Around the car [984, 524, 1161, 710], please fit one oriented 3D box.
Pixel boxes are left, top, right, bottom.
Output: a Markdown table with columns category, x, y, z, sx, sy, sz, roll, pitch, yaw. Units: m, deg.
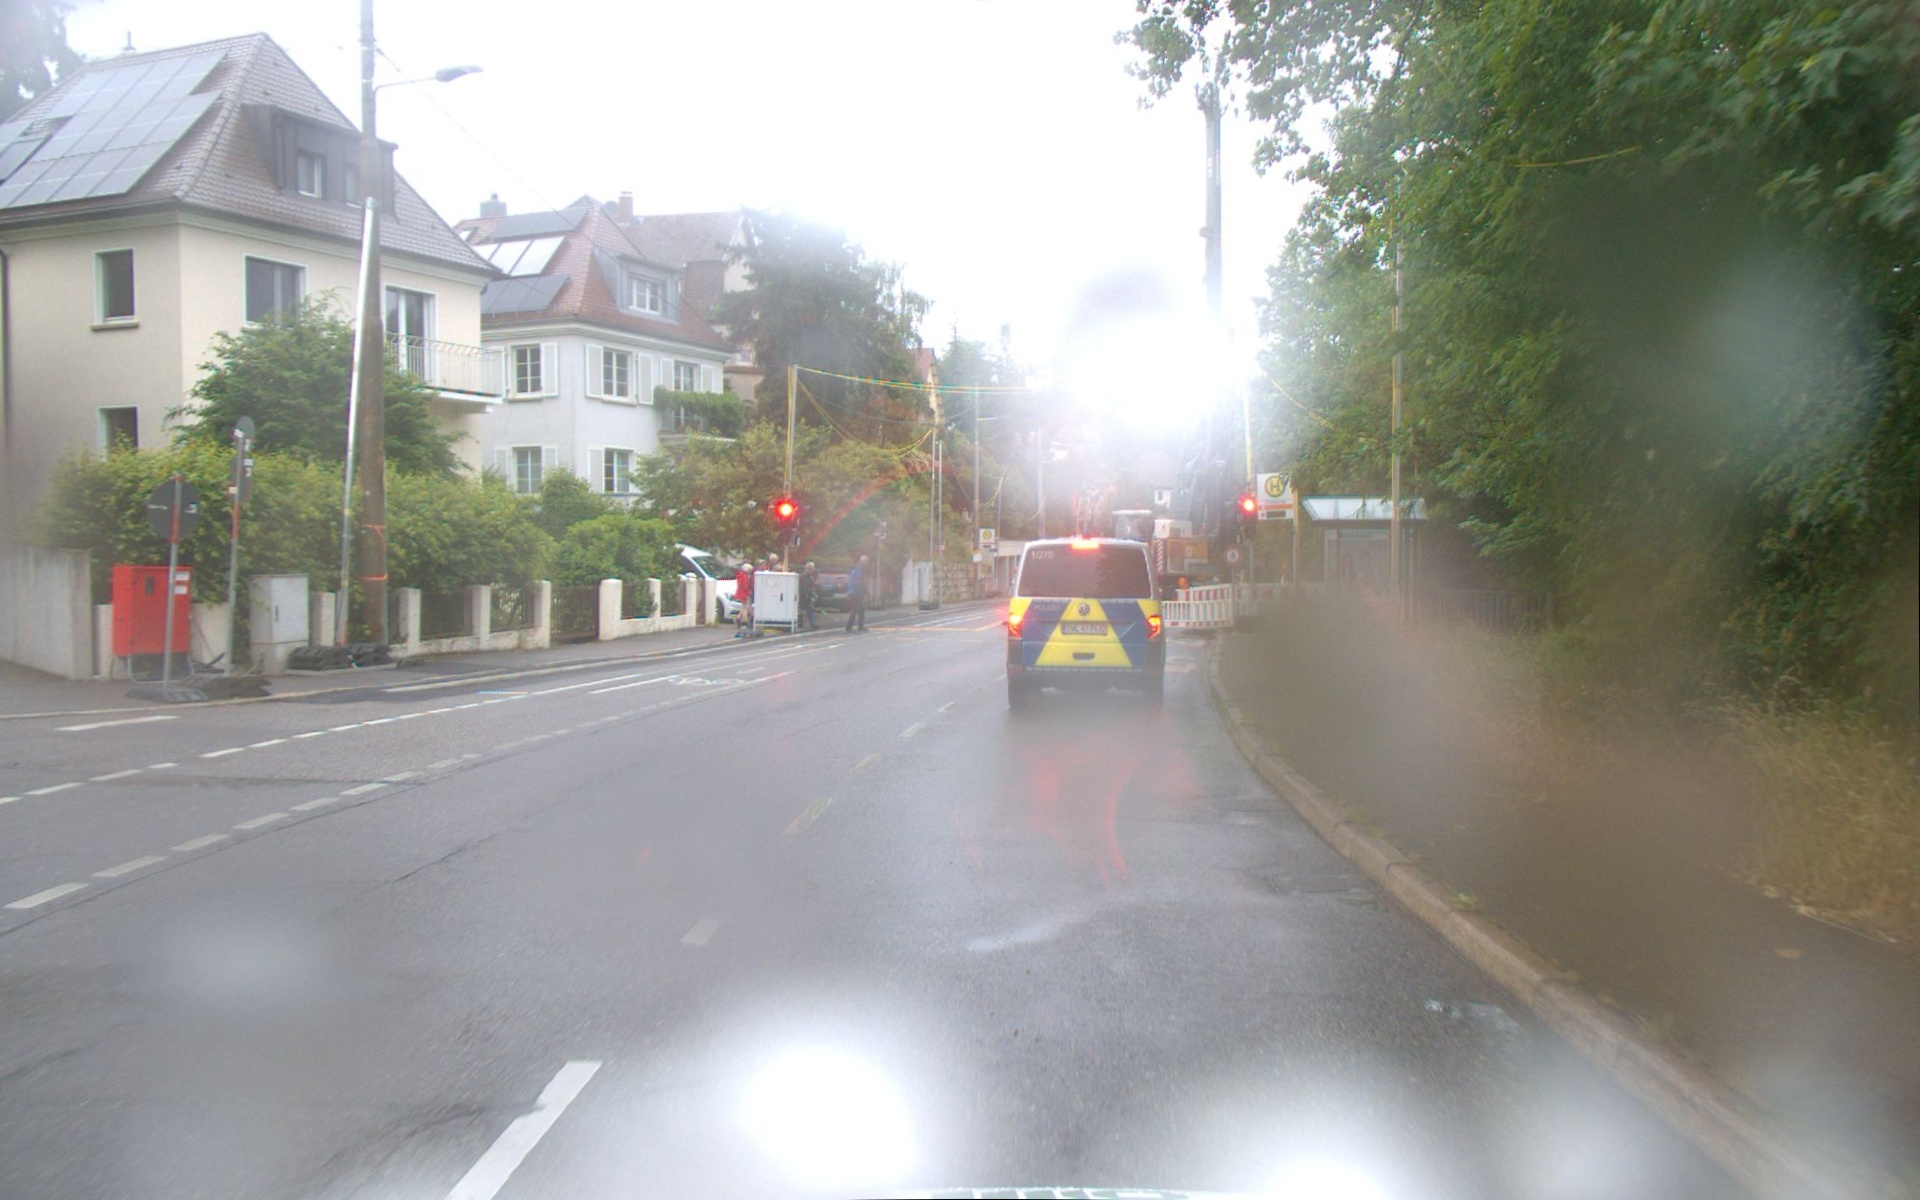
| category | x | y | z | sx | sy | sz | roll | pitch | yaw |
| --- | --- | --- | --- | --- | --- | --- | --- | --- | --- |
| car | 1.430 | 0.127 | 20.475 | 1.951 | 2.048 | 4.405 | 0 | 2 | 5 |

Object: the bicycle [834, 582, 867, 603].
| category | x | y | z | sx | sy | sz | roll | pitch | yaw |
| --- | --- | --- | --- | --- | --- | --- | --- | --- | --- |
| bicycle | -3.646 | -0.253 | 55.187 | 1.031 | 0.674 | 0.320 | 2 | -1 | 16 |

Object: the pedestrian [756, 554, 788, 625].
| category | x | y | z | sx | sy | sz | roll | pitch | yaw |
| --- | --- | --- | --- | --- | --- | --- | --- | --- | --- |
| pedestrian | -4.702 | -0.258 | 41.397 | 0.613 | 1.744 | 0.593 | 2 | -1 | 7 |

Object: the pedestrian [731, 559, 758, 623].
| category | x | y | z | sx | sy | sz | roll | pitch | yaw |
| --- | --- | --- | --- | --- | --- | --- | --- | --- | --- |
| pedestrian | -5.345 | -0.220 | 40.989 | 0.514 | 1.533 | 0.429 | 2 | -1 | 7 |

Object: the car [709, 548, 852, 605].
| category | x | y | z | sx | sy | sz | roll | pitch | yaw |
| --- | --- | --- | --- | --- | --- | --- | --- | --- | --- |
| car | -5.447 | -0.716 | 50.246 | 3.903 | 1.512 | 1.761 | 2 | -1 | 16 |

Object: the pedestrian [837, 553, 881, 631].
| category | x | y | z | sx | sy | sz | roll | pitch | yaw |
| --- | --- | --- | --- | --- | --- | --- | --- | --- | --- |
| pedestrian | -2.438 | -0.188 | 39.885 | 0.871 | 1.818 | 0.829 | 2 | -1 | 4 |

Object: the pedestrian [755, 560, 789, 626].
| category | x | y | z | sx | sy | sz | roll | pitch | yaw |
| --- | --- | --- | --- | --- | --- | --- | --- | --- | --- |
| pedestrian | -4.550 | -0.160 | 40.046 | 0.613 | 1.548 | 0.593 | 2 | -1 | 7 |

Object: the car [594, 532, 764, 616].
| category | x | y | z | sx | sy | sz | roll | pitch | yaw |
| --- | --- | --- | --- | --- | --- | --- | --- | --- | --- |
| car | -7.279 | -0.685 | 42.931 | 3.903 | 2.048 | 1.831 | 2 | 1 | 17 |

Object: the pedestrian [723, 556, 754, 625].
| category | x | y | z | sx | sy | sz | roll | pitch | yaw |
| --- | --- | --- | --- | --- | --- | --- | --- | --- | --- |
| pedestrian | -5.266 | -0.221 | 39.387 | 0.551 | 1.610 | 0.468 | 2 | -1 | 7 |

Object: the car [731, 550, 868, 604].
| category | x | y | z | sx | sy | sz | roll | pitch | yaw |
| --- | --- | --- | --- | --- | --- | --- | --- | --- | --- |
| car | -5.078 | -0.717 | 52.372 | 3.903 | 1.512 | 1.761 | 2 | -1 | 16 |

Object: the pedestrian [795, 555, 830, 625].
| category | x | y | z | sx | sy | sz | roll | pitch | yaw |
| --- | --- | --- | --- | --- | --- | --- | --- | --- | --- |
| pedestrian | -3.544 | -0.241 | 39.820 | 0.671 | 1.632 | 0.606 | 2 | -1 | 4 |
